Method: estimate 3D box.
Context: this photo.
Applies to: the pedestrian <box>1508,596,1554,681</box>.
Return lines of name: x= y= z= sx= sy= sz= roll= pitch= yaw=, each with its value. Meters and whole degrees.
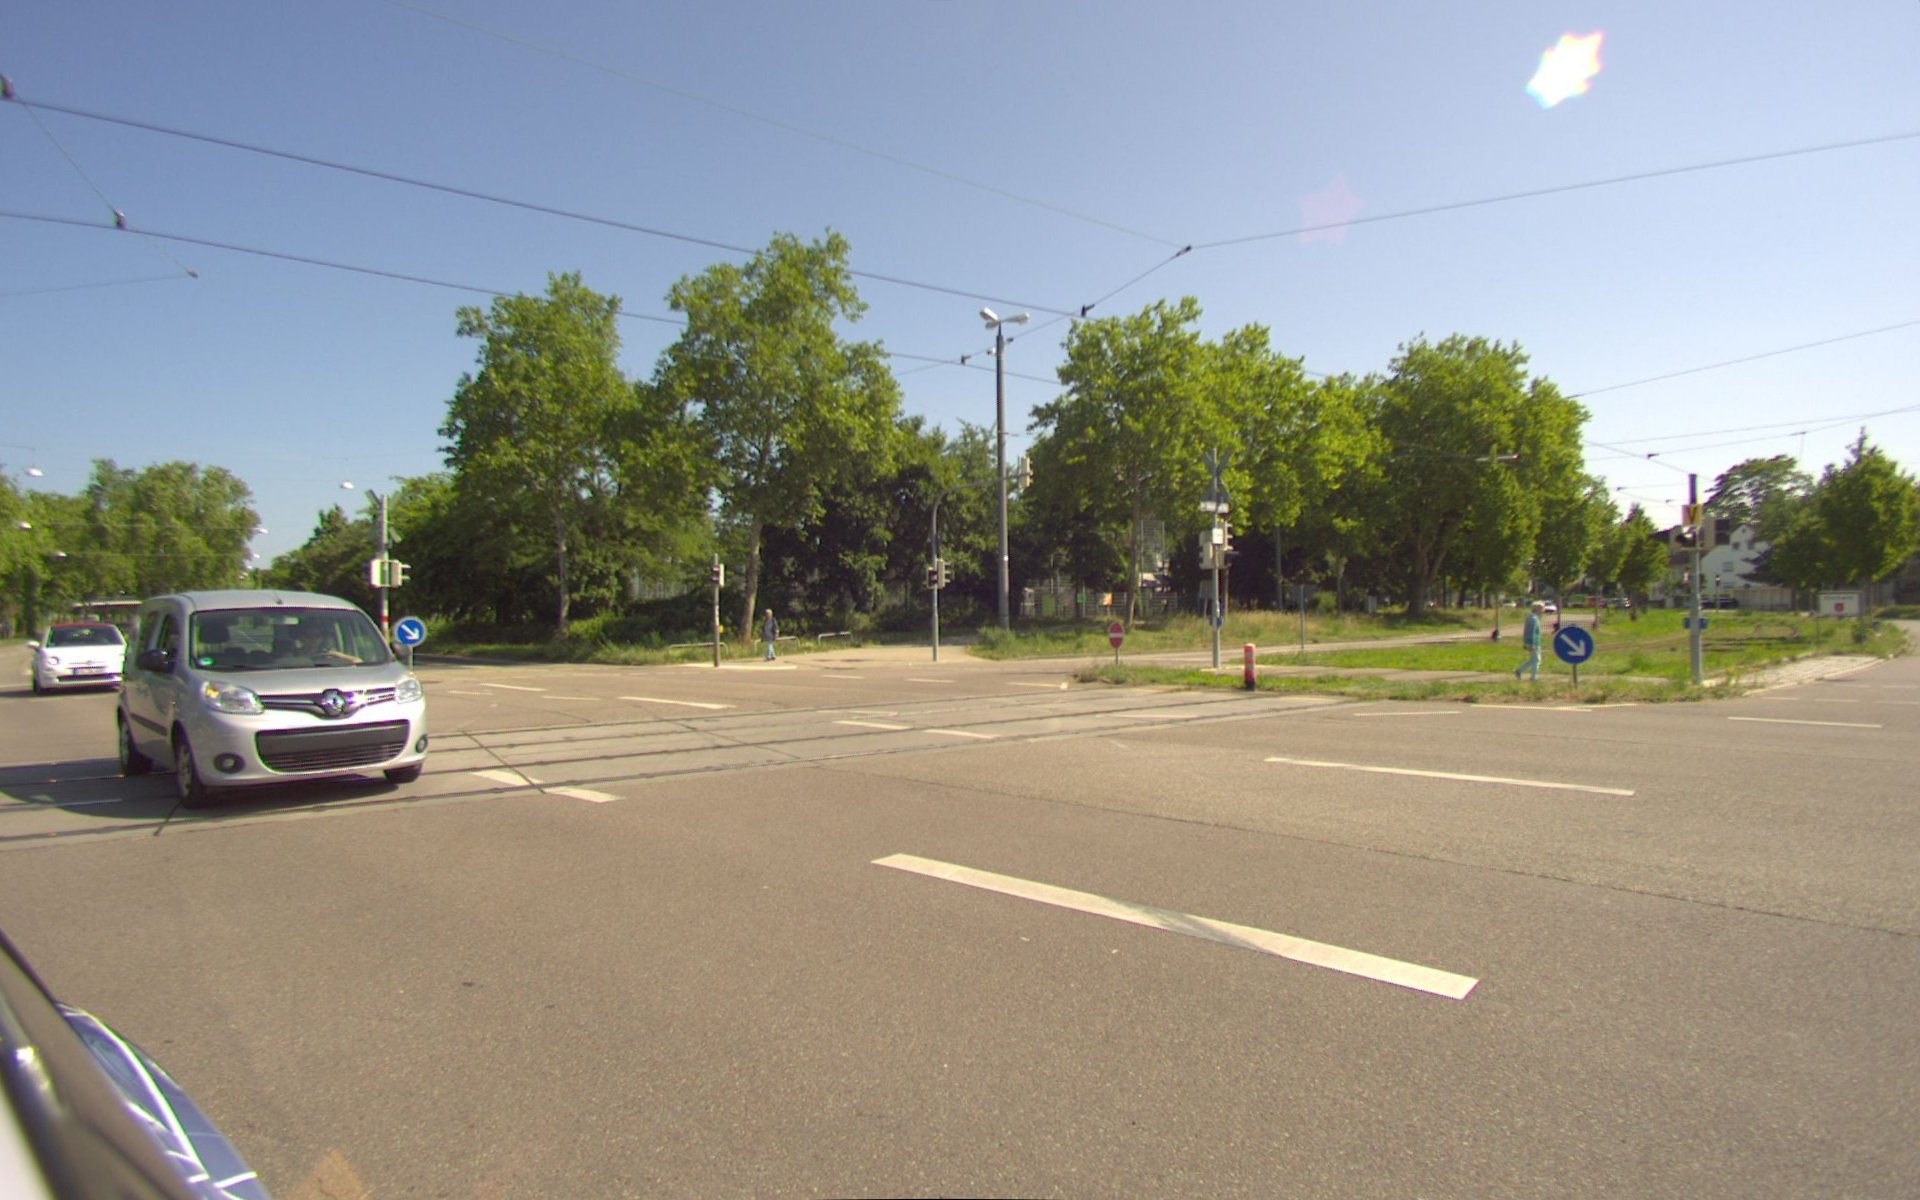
pedestrian: x=10.744 y=0.714 z=19.049 sx=0.669 sy=1.573 sz=0.361 roll=-1 pitch=-1 yaw=42

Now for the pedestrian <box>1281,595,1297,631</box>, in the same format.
pedestrian: x=19.578 y=0.761 z=60.207 sx=0.754 sy=2.106 sz=0.611 roll=-1 pitch=-1 yaw=38

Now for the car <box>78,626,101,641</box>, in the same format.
car: x=-125.461 y=4.811 z=145.926 sx=1.966 sy=2.029 sz=4.011 roll=0 pitch=-1 yaw=-32

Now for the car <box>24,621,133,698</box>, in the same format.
car: x=-19.430 y=1.228 z=22.262 sx=1.665 sy=1.502 sz=4.380 roll=0 pitch=-1 yaw=-43

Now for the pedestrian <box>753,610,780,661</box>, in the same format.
pedestrian: x=-5.946 y=1.089 z=31.114 sx=0.568 sy=1.546 sz=0.599 roll=-1 pitch=-1 yaw=39

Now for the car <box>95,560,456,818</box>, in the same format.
car: x=-6.543 y=0.683 z=9.463 sx=4.375 sy=1.854 sz=1.852 roll=-1 pitch=-1 yaw=43
